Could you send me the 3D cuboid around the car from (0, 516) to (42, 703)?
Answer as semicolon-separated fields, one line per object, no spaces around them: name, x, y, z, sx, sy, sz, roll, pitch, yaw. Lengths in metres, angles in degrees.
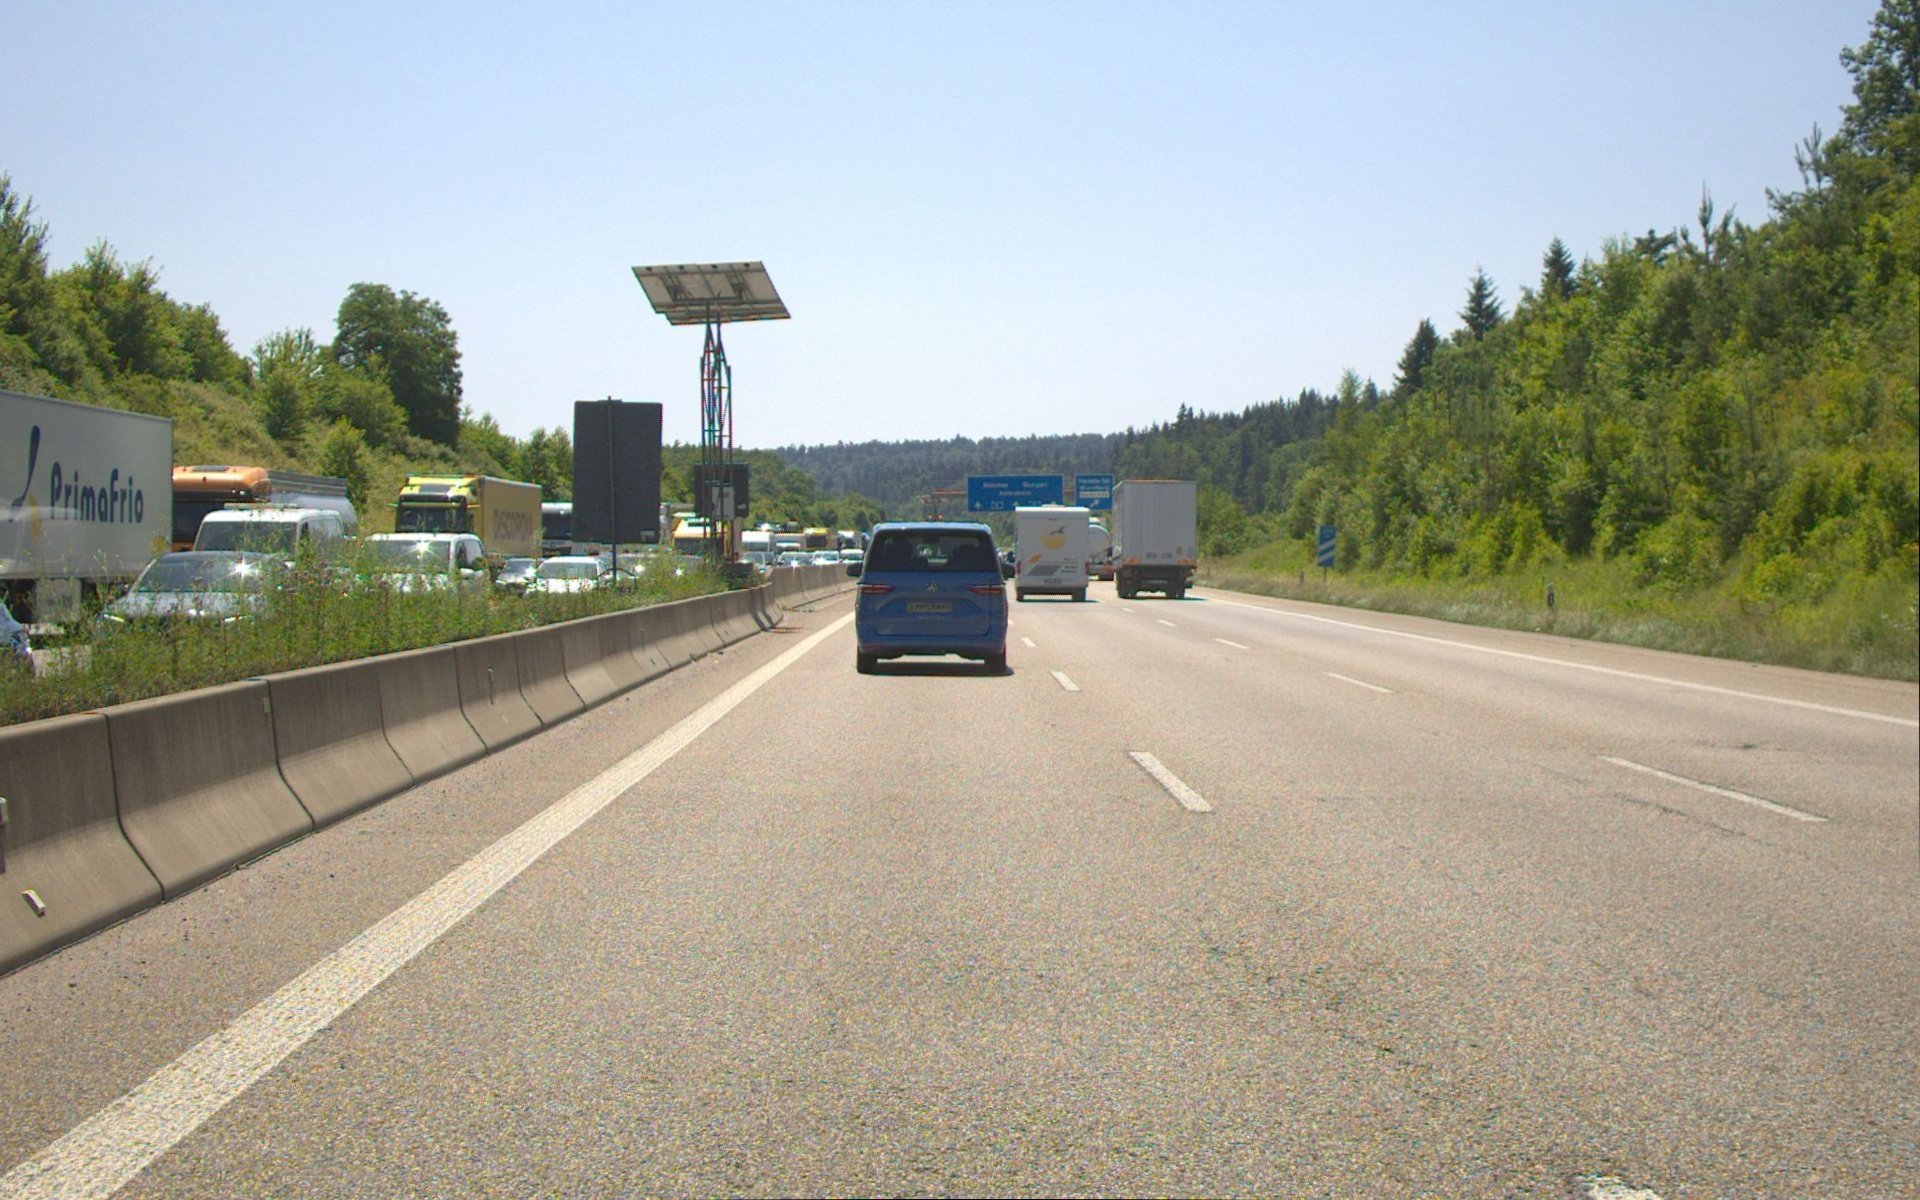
car;-8.431;0.074;25.886;1.826;1.473;4.972;1;1;-2

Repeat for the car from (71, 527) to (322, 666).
car;-8.689;-0.066;39.570;1.826;1.473;5.400;1;1;-2

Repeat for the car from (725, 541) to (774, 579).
car;-8.533;-1.640;139.549;1.827;1.492;4.760;1;1;-2

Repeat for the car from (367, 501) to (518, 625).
car;-8.667;-0.623;58.007;1.826;1.970;5.666;1;1;-2

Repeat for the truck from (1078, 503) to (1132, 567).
truck;8.307;-3.773;197.595;2.928;3.562;8.526;-1;2;2

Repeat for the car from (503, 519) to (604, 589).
car;-9.129;-1.027;77.543;1.827;1.492;4.760;1;1;-2

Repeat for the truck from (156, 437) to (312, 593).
truck;-16.208;-1.869;77.018;2.493;3.354;5.186;1;1;-2

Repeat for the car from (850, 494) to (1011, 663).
car;-0.375;-0.296;43.850;1.909;2.007;4.000;2;1;0

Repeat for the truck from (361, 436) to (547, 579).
truck;-17.018;-3.000;117.160;3.696;4.441;17.382;1;1;0

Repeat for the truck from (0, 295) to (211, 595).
truck;-16.080;-2.378;56.428;3.696;4.441;17.382;1;1;0

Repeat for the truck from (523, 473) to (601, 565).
truck;-16.553;-3.330;143.182;2.678;3.730;5.873;1;1;-2

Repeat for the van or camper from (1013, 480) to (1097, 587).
van or camper;3.042;-2.208;111.348;2.603;3.067;7.183;1;4;1

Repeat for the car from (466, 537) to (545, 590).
car;-13.413;-1.085;101.659;1.827;1.492;4.760;1;1;-2

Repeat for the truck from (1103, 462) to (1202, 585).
truck;6.711;-2.640;121.123;2.783;4.114;9.740;1;1;-1

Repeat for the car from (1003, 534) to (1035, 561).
car;3.316;-2.949;193.843;1.780;1.481;4.000;0;1;0

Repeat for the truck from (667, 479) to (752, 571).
truck;-8.493;-2.513;117.182;2.268;3.006;6.777;1;1;1

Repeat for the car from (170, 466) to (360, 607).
car;-12.448;-1.113;62.020;2.184;2.376;6.542;1;1;-1

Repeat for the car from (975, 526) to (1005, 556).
car;1.813;-3.607;209.924;1.776;1.766;4.000;0;1;0
